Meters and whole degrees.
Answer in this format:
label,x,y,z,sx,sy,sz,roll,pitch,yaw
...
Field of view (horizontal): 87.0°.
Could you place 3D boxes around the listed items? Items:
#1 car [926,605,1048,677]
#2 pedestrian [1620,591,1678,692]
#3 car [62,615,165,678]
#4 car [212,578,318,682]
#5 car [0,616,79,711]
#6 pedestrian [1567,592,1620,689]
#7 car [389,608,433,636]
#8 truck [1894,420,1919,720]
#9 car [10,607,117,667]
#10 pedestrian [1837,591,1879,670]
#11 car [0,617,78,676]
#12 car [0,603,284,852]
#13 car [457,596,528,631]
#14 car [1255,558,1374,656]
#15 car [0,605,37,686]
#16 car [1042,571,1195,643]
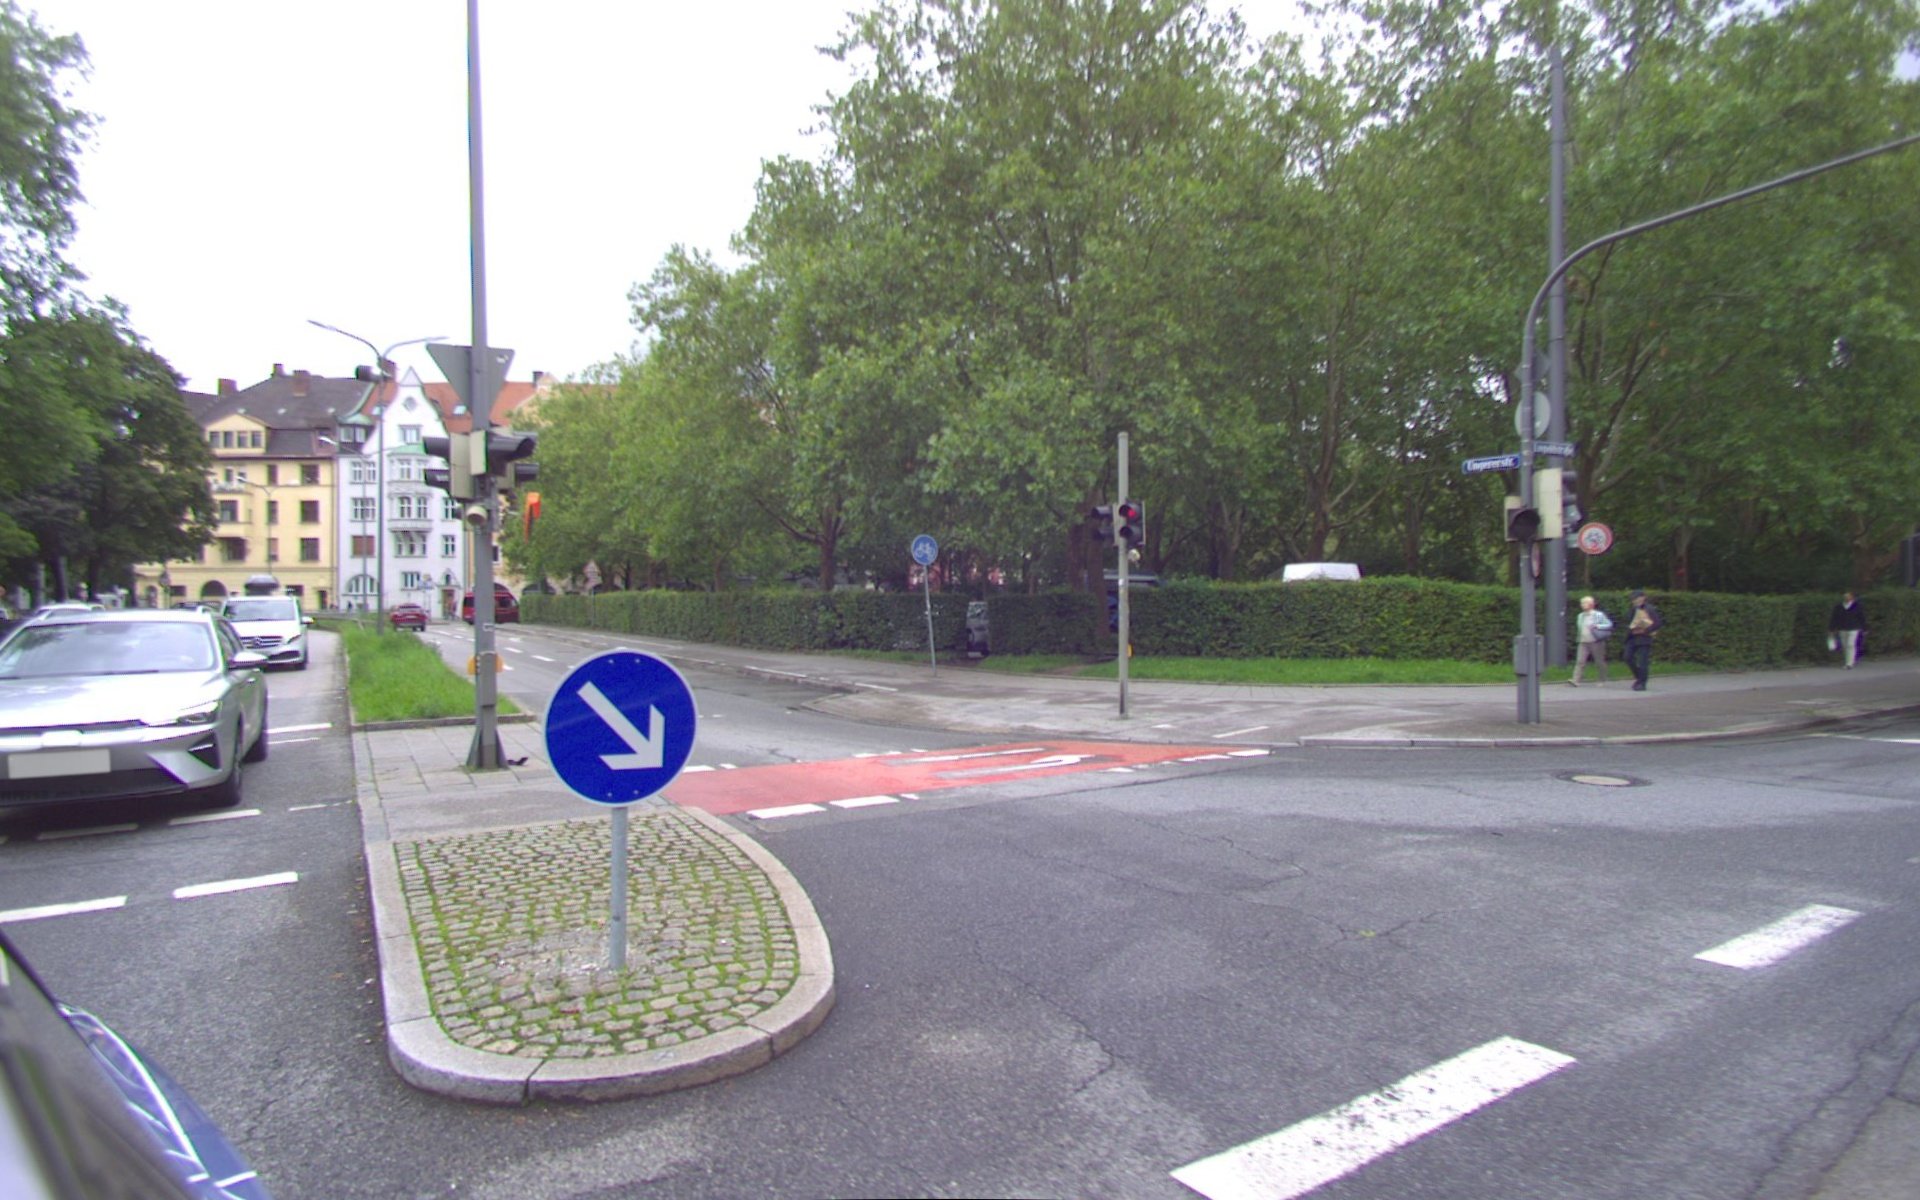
label,x,y,z,sx,sy,sz,roll,pitch,yaw
car,0.818,1.080,28.301,1.773,1.776,3.482,-1,1,35
pedestrian,11.781,0.701,17.303,0.652,1.676,0.686,1,-1,-44
car,-22.764,1.196,27.336,1.621,1.541,3.898,0,-1,-32
car,-17.552,0.721,25.759,1.881,2.369,4.960,0,-1,-31
car,-17.301,1.096,18.363,1.748,1.536,4.217,-1,0,-38
pedestrian,11.202,0.695,17.900,0.546,1.676,0.686,1,-1,-44
car,-33.633,1.399,61.935,2.074,1.650,4.953,1,-2,-32
truck,18.363,-0.407,15.604,11.516,4.011,2.756,0,-2,-32
car,-29.958,1.170,33.983,1.818,1.870,5.039,0,-1,-31
pedestrian,21.188,0.706,23.878,0.652,1.824,0.686,1,-1,-44
car,-26.679,1.284,28.997,1.498,1.561,3.673,0,-1,-31
car,-6.838,0.815,8.304,1.746,1.536,4.222,-1,0,-29
car,-35.775,1.092,77.614,2.085,2.609,6.067,0,-2,7
car,8.758,0.295,25.435,1.978,2.029,4.613,-1,-6,10
car,-23.933,1.061,24.409,1.906,1.833,4.565,0,-1,-36
car,6.160,0.222,39.090,5.763,2.554,2.006,-2,1,-29
